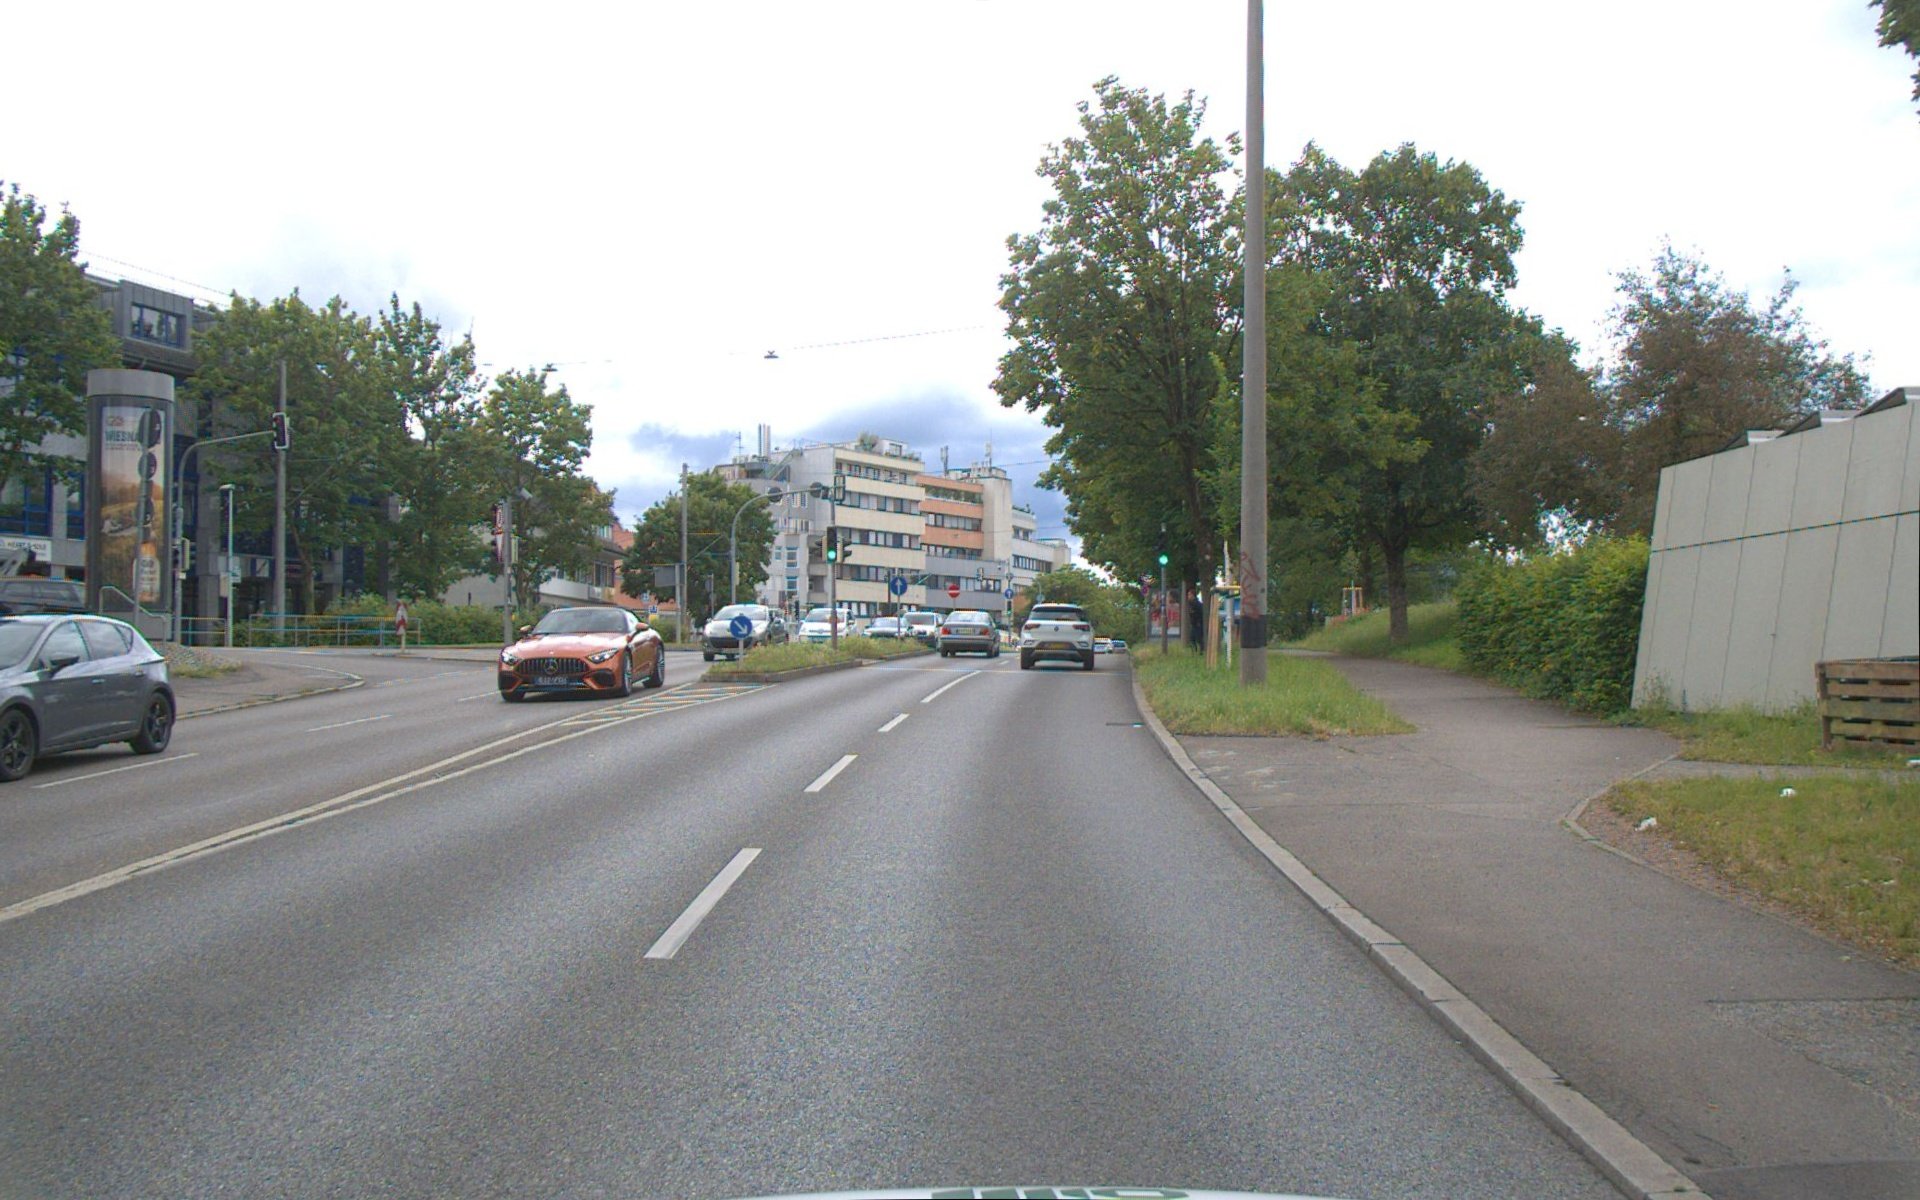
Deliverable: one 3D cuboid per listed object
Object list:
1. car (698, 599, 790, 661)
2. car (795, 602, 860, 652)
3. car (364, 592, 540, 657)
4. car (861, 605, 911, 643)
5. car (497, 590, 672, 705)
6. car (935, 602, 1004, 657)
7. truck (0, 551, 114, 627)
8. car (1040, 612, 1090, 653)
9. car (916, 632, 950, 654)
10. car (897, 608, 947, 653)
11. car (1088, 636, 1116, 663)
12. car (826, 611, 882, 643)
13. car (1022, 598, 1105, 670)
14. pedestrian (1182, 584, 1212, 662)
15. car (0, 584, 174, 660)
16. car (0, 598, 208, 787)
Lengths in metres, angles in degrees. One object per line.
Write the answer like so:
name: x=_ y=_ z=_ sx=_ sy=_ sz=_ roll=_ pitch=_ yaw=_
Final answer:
car: x=-5.511 y=0.728 z=42.616 sx=1.740 sy=1.507 sz=3.981 roll=0 pitch=0 yaw=1
car: x=-4.355 y=0.864 z=54.854 sx=1.740 sy=1.592 sz=4.001 roll=0 pitch=0 yaw=1
car: x=-12.838 y=0.592 z=41.964 sx=1.750 sy=1.571 sz=3.975 roll=0 pitch=0 yaw=42
car: x=-3.076 y=0.978 z=69.187 sx=1.740 sy=1.507 sz=4.482 roll=-1 pitch=0 yaw=2
car: x=-5.868 y=0.680 z=26.345 sx=1.734 sy=1.598 sz=4.285 roll=-3 pitch=0 yaw=0
car: x=0.323 y=0.878 z=50.791 sx=1.663 sy=1.542 sz=3.739 roll=0 pitch=1 yaw=7
truck: x=-30.650 y=-0.369 z=55.130 sx=1.954 sy=2.428 sz=3.998 roll=2 pitch=1 yaw=24
car: x=4.035 y=1.250 z=63.983 sx=1.665 sy=1.542 sz=3.493 roll=0 pitch=-1 yaw=-1
car: x=-1.827 y=2.880 z=112.230 sx=1.822 sy=1.453 sz=4.002 roll=0 pitch=-1 yaw=6
car: x=-1.812 y=1.445 z=80.060 sx=1.797 sy=2.037 sz=4.861 roll=1 pitch=0 yaw=6
car: x=9.402 y=3.283 z=109.601 sx=1.733 sy=1.598 sz=4.287 roll=0 pitch=0 yaw=3
car: x=-4.856 y=1.218 z=76.335 sx=1.746 sy=1.403 sz=3.954 roll=1 pitch=0 yaw=9
car: x=2.583 y=0.789 z=40.583 sx=1.664 sy=1.575 sz=3.739 roll=3 pitch=1 yaw=8
pedestrian: x=5.825 y=0.554 z=40.656 sx=0.629 sy=1.888 sz=0.673 roll=0 pitch=0 yaw=0
car: x=-19.073 y=0.436 z=34.893 sx=1.740 sy=1.488 sz=4.438 roll=2 pitch=0 yaw=24
car: x=-8.750 y=0.796 z=15.232 sx=1.711 sy=1.520 sz=4.207 roll=-3 pitch=0 yaw=-1
